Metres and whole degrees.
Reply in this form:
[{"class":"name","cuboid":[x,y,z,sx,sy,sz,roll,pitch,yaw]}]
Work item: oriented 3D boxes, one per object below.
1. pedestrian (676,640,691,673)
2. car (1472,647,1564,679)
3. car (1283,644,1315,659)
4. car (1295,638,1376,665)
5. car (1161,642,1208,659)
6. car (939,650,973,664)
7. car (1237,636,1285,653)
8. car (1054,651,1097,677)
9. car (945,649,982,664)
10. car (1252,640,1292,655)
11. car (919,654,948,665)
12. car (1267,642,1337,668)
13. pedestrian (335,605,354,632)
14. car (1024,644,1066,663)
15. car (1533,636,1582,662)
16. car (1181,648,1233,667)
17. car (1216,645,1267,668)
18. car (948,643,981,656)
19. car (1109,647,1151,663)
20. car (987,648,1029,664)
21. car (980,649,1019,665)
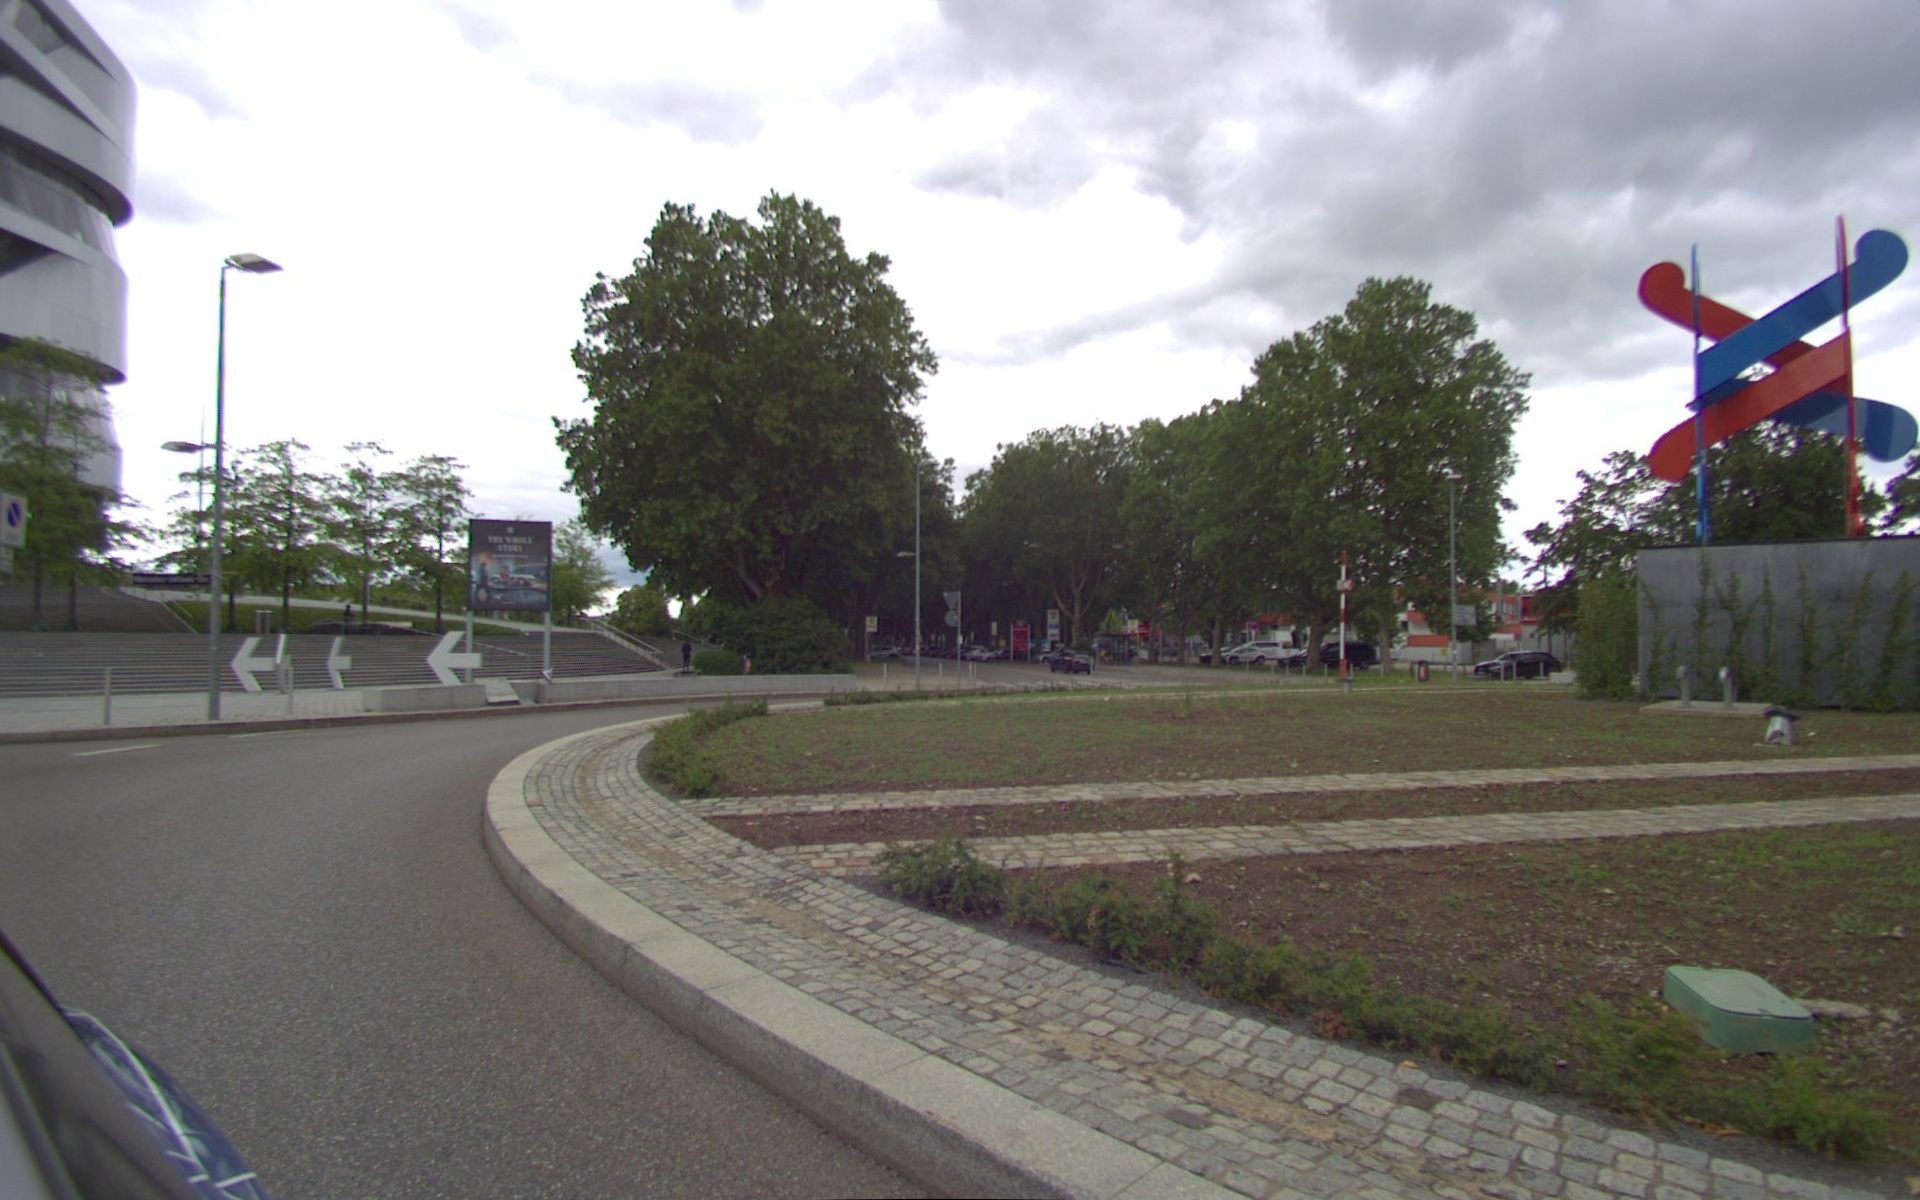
[{"class":"pedestrian","cuboid":[-15.212,3.107,55.679,0.554,1.775,0.588,-3,-4,35]},{"class":"car","cuboid":[28.207,3.168,51.203,3.763,1.536,1.783,0,-3,-11]},{"class":"car","cuboid":[39.205,5.988,117.137,1.767,1.733,3.965,0,-3,-12]},{"class":"car","cuboid":[25.488,3.520,68.790,4.733,1.741,2.016,0,-3,-11]},{"class":"car","cuboid":[21.377,4.783,96.468,3.948,1.530,1.872,-1,-3,-2]},{"class":"car","cuboid":[-0.453,6.817,121.337,3.949,1.530,1.872,-1,-3,-2]},{"class":"car","cuboid":[31.230,4.639,105.002,4.363,1.664,1.801,0,-4,-12]},{"class":"car","cuboid":[7.272,4.053,64.169,1.769,1.576,4.733,-1,-3,-5]},{"class":"car","cuboid":[0.362,6.246,111.564,3.949,1.623,1.868,-1,-3,-2]},{"class":"car","cuboid":[35.686,5.478,115.786,3.891,1.664,1.801,0,-4,-12]},{"class":"car","cuboid":[-3.713,8.353,142.380,3.949,1.530,1.872,-1,-3,-2]},{"class":"car","cuboid":[24.251,3.919,71.845,4.221,1.741,2.016,0,-4,-11]},{"class":"pedestrian","cuboid":[-33.704,1.016,55.417,0.779,1.398,0.684,2,-5,-40]},{"class":"car","cuboid":[8.101,5.120,96.769,3.652,1.791,1.673,0,-3,-8]},{"class":"car","cuboid":[38.910,3.214,66.005,1.782,1.664,4.409,-2,-4,18]},{"class":"car","cuboid":[21.011,4.918,86.190,3.948,1.530,1.873,-1,-3,-2]},{"class":"car","cuboid":[23.265,4.652,83.664,3.657,1.791,1.671,-1,-3,-2]},{"class":"car","cuboid":[0.544,6.080,124.466,3.949,1.530,1.872,0,-2,-2]},{"class":"car","cuboid":[17.740,5.734,105.655,3.950,1.530,1.872,-1,-3,-1]},{"class":"car","cuboid":[4.849,5.740,103.443,4.116,1.530,1.872,-1,-3,-2]},{"class":"car","cuboid":[4.092,5.959,105.797,3.949,1.530,1.872,-1,-3,-2]}]
